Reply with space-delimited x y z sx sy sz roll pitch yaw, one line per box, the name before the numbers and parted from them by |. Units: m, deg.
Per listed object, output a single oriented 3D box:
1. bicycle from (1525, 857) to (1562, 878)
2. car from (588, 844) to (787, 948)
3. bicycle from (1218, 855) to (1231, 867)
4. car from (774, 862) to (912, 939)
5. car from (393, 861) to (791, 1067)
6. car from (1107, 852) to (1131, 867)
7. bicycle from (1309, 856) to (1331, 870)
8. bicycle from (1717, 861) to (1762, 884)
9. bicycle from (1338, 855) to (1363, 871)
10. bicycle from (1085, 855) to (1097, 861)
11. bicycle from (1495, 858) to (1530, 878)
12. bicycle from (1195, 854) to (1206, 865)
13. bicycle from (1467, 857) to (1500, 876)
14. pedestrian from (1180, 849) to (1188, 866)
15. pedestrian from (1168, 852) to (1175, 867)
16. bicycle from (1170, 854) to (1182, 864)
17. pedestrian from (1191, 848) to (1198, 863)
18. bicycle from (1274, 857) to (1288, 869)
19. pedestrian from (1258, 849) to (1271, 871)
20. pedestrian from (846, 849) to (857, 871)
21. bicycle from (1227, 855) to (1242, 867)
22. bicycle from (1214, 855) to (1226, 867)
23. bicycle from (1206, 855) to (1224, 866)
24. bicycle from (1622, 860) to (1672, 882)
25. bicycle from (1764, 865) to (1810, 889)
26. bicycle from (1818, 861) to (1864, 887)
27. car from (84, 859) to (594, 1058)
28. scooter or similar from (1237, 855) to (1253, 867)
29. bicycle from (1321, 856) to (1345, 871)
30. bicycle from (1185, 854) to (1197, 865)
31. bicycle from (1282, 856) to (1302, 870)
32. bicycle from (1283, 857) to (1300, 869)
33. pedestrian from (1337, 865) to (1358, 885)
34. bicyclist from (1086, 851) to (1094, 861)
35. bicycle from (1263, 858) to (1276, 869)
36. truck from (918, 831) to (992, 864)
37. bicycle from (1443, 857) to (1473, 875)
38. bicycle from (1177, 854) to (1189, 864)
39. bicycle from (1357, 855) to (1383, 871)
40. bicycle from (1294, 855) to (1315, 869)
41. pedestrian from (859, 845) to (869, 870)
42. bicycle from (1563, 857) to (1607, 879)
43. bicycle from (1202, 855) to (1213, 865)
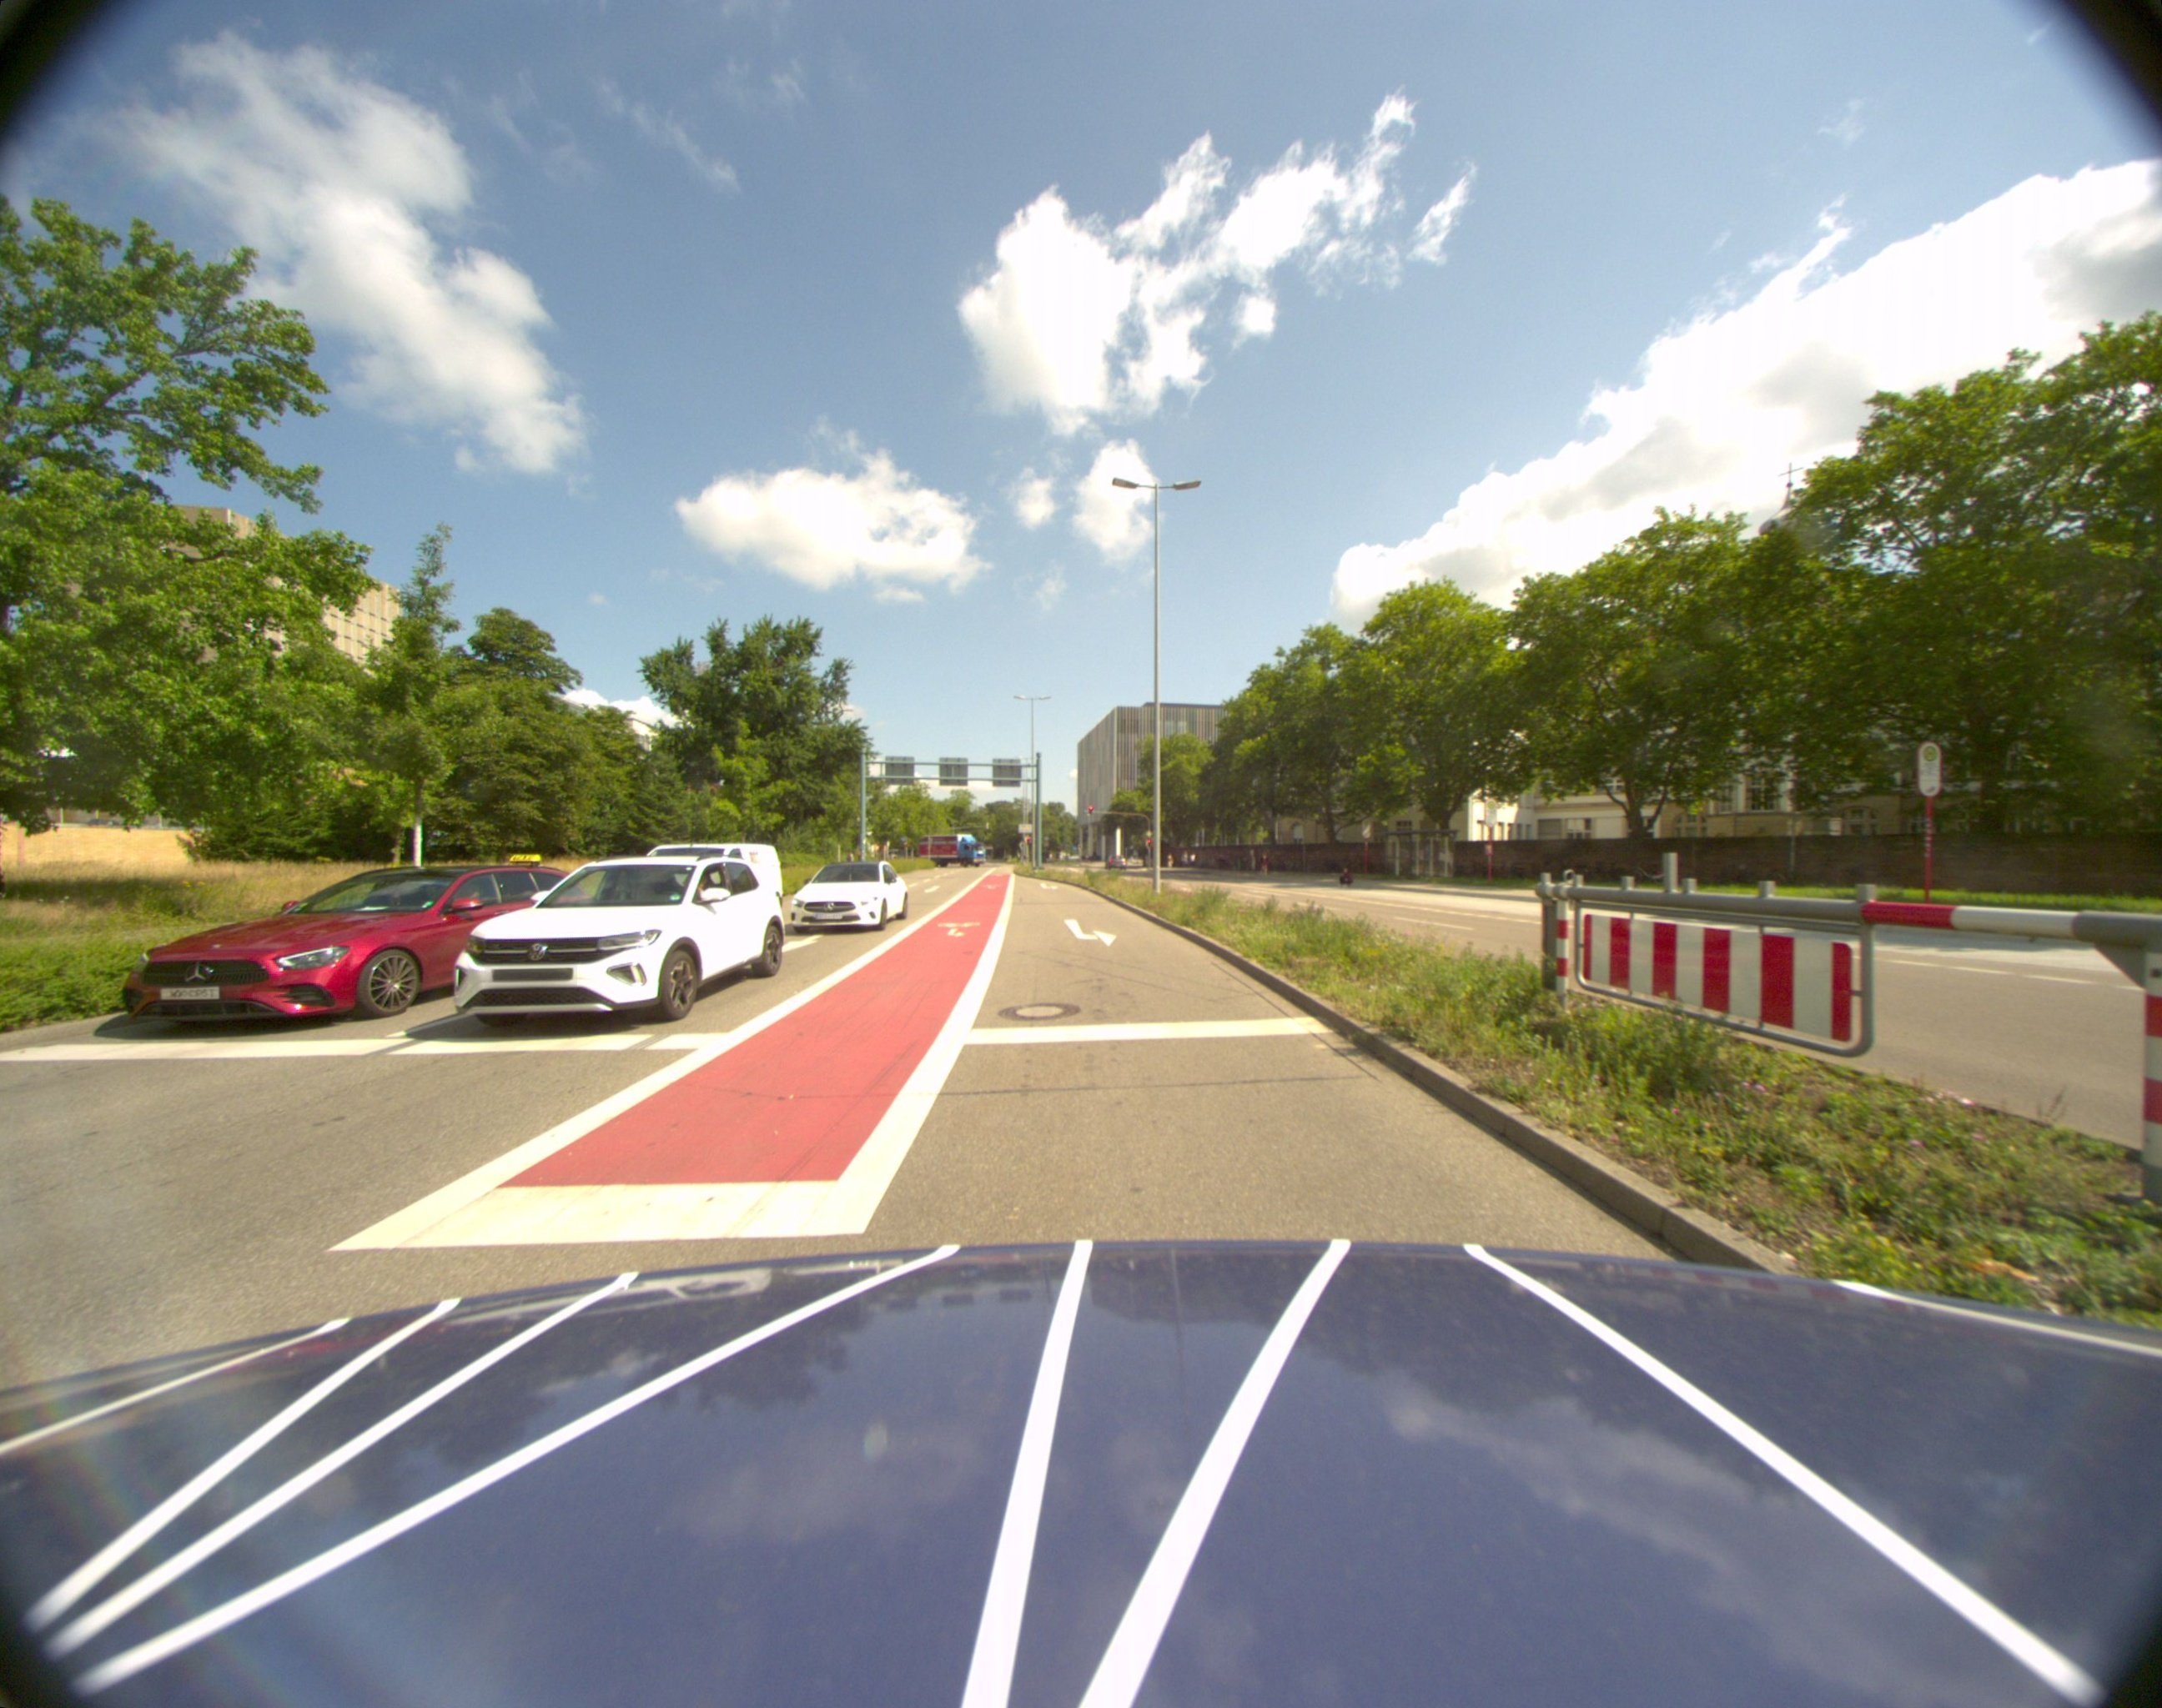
bicycle | 24.907 0.720 40.949 0.585 1.067 1.628 0 0 -27
car | -8.002 0.751 16.078 1.948 1.859 4.823 0 0 -4
bicycle | 13.431 0.657 71.169 0.395 1.042 1.878 0 0 -15
car | -5.033 0.913 16.738 1.909 1.415 4.383 0 0 -4
car | -4.642 0.885 8.061 1.796 1.530 4.009 -2 0 -4
car | 3.695 0.547 74.877 1.705 1.436 4.143 1 0 -6
bicycle | 17.877 0.663 56.771 0.585 1.067 1.752 0 0 -22
bicycle | 29.178 0.800 33.690 0.473 1.005 1.453 0 0 -26
bicycle | 19.042 0.639 53.706 0.585 1.067 1.752 0 0 -27
bicycle | 1.485 0.627 116.651 1.771 0.887 0.639 0 0 26
bicycle | 24.109 0.781 42.478 0.585 1.067 1.628 0 0 -27
bicycle | 12.056 0.532 76.984 0.371 1.042 1.878 0 0 -15
bicycle | 23.326 0.706 44.064 0.585 1.067 1.628 0 0 -27
pedestrian | 10.365 0.335 76.496 0.643 1.641 0.730 0 1 -11
pedestrian | 9.629 0.584 80.788 0.562 1.641 0.726 0 1 -11
bicycle | 10.459 0.550 83.599 0.632 1.042 1.878 0 0 -15
pedestrian | 11.509 0.188 77.088 0.477 1.531 0.616 0 1 -11
bicycle | 16.270 0.693 61.939 0.368 0.949 1.399 0 0 -21
pedestrian | 13.285 0.421 55.002 0.658 1.600 0.744 -1 1 -4
pedestrian | -16.667 0.407 55.289 0.625 1.571 0.708 0 1 -5
bicycle | 14.005 0.629 69.295 0.582 1.042 1.878 0 0 -15
bicycle | 13.007 0.643 71.043 0.374 1.042 1.878 0 0 -15
bicycle | 12.860 0.588 72.988 0.594 1.042 1.876 0 0 -30
bicycle | 27.341 0.793 36.730 0.473 1.005 1.960 0 0 -26
bicycle | 29.981 0.961 32.266 0.392 1.005 1.367 0 0 -26
bicycle | 30.866 0.791 30.880 0.354 1.005 1.252 0 0 -26
car | -7.737 0.900 8.716 1.686 1.631 4.460 -1 0 -4
scooter or similar | 14.572 0.622 67.409 0.582 1.042 1.878 0 0 -15
bicycle | 18.312 0.698 55.340 0.585 1.067 1.752 0 0 -27
bicycle | 11.474 0.565 79.475 0.566 1.042 1.878 0 0 -15
bicycle | 16.472 0.666 59.429 0.585 1.067 1.752 0 0 -21
bicycle | 16.698 0.697 60.349 0.371 0.949 1.624 0 0 -21
pedestrian | 13.077 1.041 37.318 0.696 0.957 0.742 -1 1 -6
bicyclist | 1.393 0.318 116.697 0.944 1.456 0.633 0 1 26
bicycle | 15.707 0.776 63.389 0.368 0.949 1.399 0 0 -21
truck | -15.408 -0.765 92.268 9.165 3.777 2.671 0 1 29
bicycle | 22.642 0.730 45.646 0.585 1.067 1.628 0 0 -27
bicycle | 10.940 0.563 81.533 0.632 1.042 1.878 0 0 -15
bicycle | 19.769 0.577 51.965 0.585 1.067 1.752 0 0 -27
bicycle | 17.174 0.599 58.366 0.585 1.067 1.752 0 0 -21
pedestrian | -15.878 0.264 55.521 0.568 1.791 0.638 0 1 -5
bicycle | 25.947 0.701 39.170 0.585 1.067 1.866 0 0 -22
bicycle | 12.469 0.582 75.012 0.371 1.042 1.878 0 0 -15
